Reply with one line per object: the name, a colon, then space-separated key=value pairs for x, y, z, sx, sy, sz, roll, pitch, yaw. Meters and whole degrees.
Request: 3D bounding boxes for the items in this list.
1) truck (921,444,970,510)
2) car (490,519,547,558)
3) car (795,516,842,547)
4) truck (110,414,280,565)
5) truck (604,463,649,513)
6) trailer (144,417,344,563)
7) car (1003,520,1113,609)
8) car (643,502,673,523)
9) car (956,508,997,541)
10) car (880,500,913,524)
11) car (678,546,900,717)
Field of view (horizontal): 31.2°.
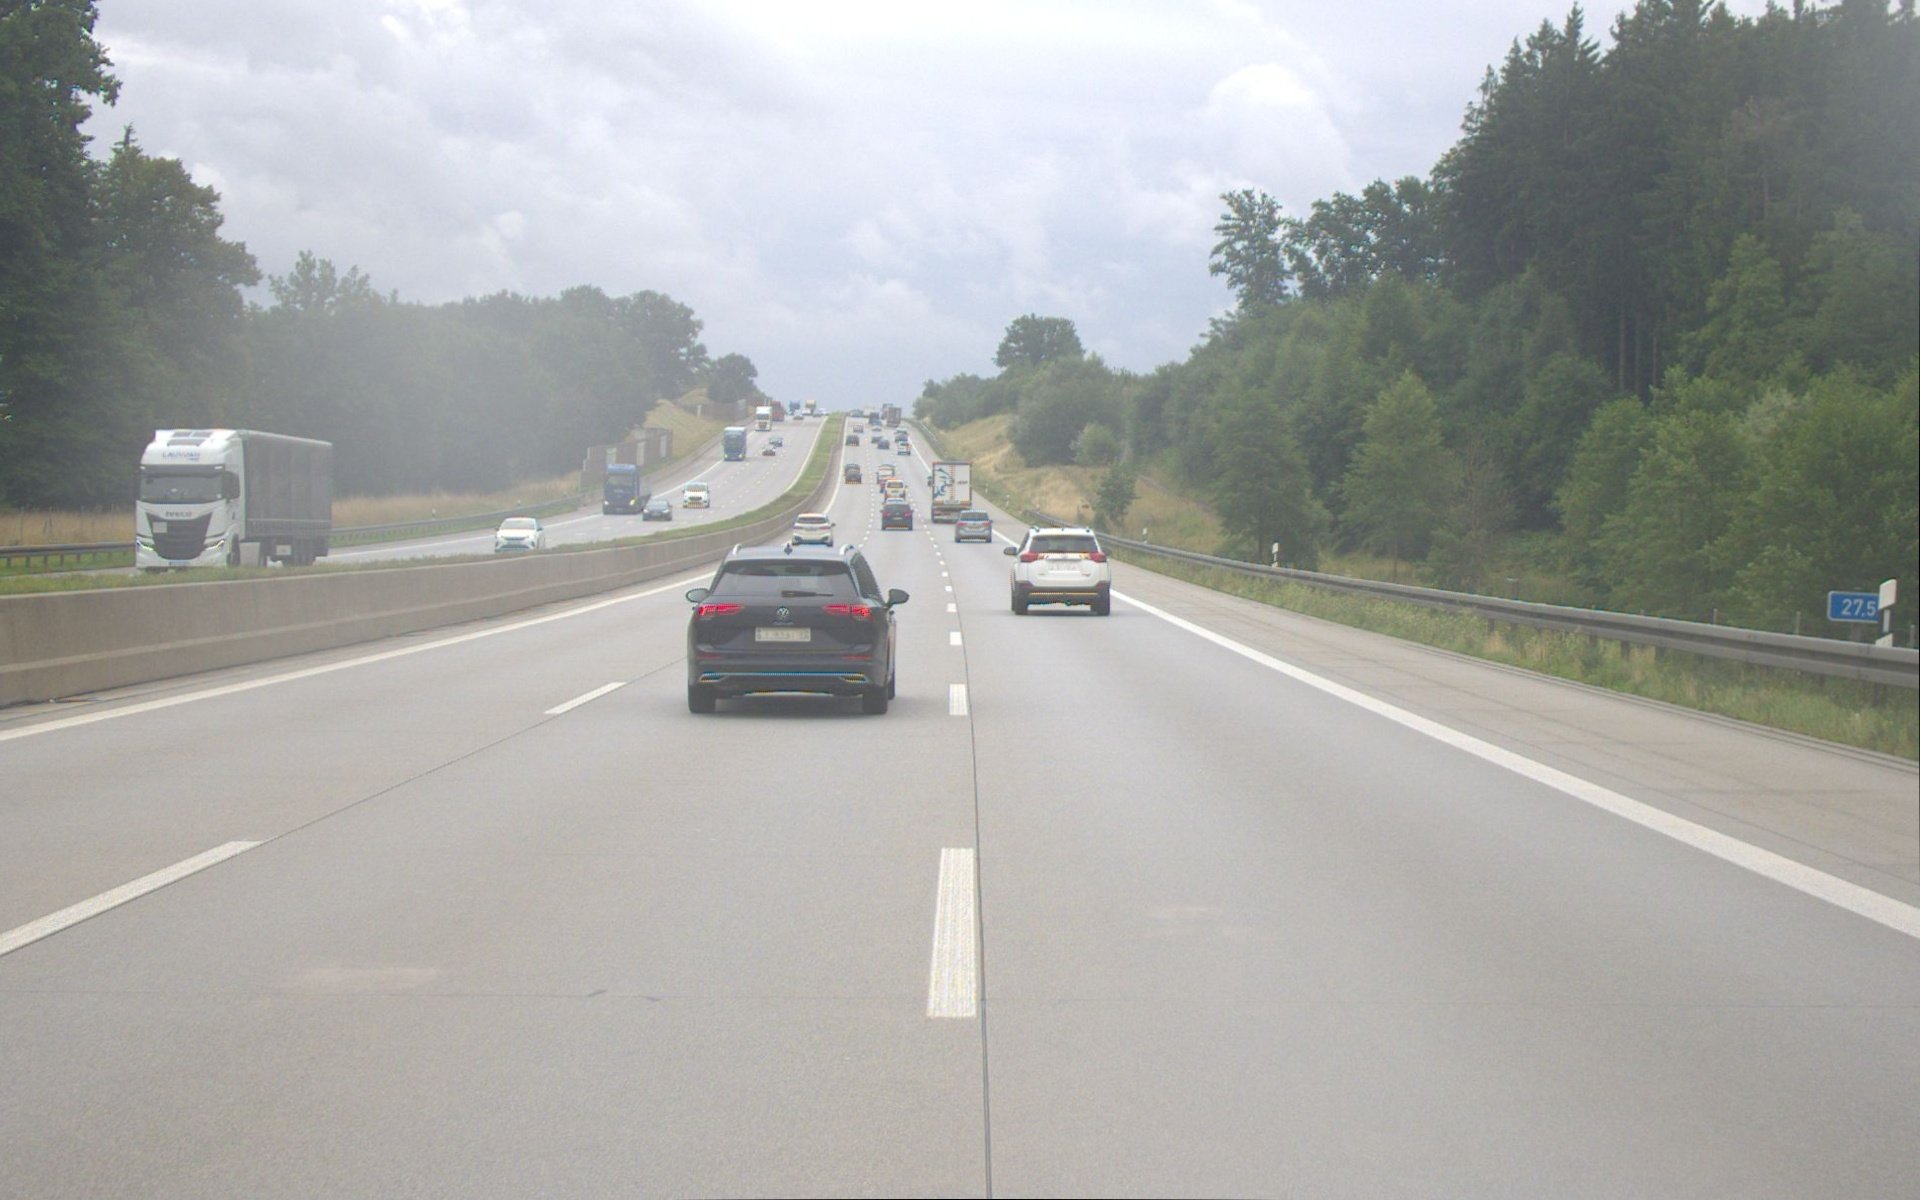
truck: x=-0.975 y=-8.247 z=229.253 sx=3.017 sy=4.165 sz=8.356 roll=1 pitch=3 yaw=-2
car: x=-17.666 y=-2.485 z=137.702 sx=1.783 sy=1.463 sz=4.372 roll=0 pitch=2 yaw=-1
car: x=-6.358 y=-3.073 z=155.200 sx=1.947 sy=1.351 sz=4.259 roll=0 pitch=1 yaw=0
truck: x=-21.433 y=-3.094 z=96.726 sx=3.212 sy=4.043 sz=7.166 roll=1 pitch=2 yaw=-1
truck: x=-24.121 y=-8.082 z=248.839 sx=2.756 sy=3.504 sz=6.641 roll=1 pitch=2 yaw=-1
trailer: x=-21.495 y=-3.305 z=104.186 sx=3.235 sy=4.038 sz=14.132 roll=1 pitch=2 yaw=-1
car: x=1.847 y=-0.704 z=65.868 sx=1.825 sy=1.650 sz=3.986 roll=0 pitch=1 yaw=-3
car: x=-19.965 y=-5.793 z=227.344 sx=1.847 sy=1.372 sz=4.438 roll=1 pitch=2 yaw=-3
car: x=0.840 y=-3.799 z=172.799 sx=1.993 sy=1.524 sz=4.000 roll=3 pitch=1 yaw=0
car: x=-3.808 y=-5.286 z=206.598 sx=1.935 sy=1.370 sz=4.595 roll=1 pitch=2 yaw=-1
car: x=-1.461 y=0.225 z=30.742 sx=1.752 sy=1.393 sz=4.484 roll=1 pitch=1 yaw=0
